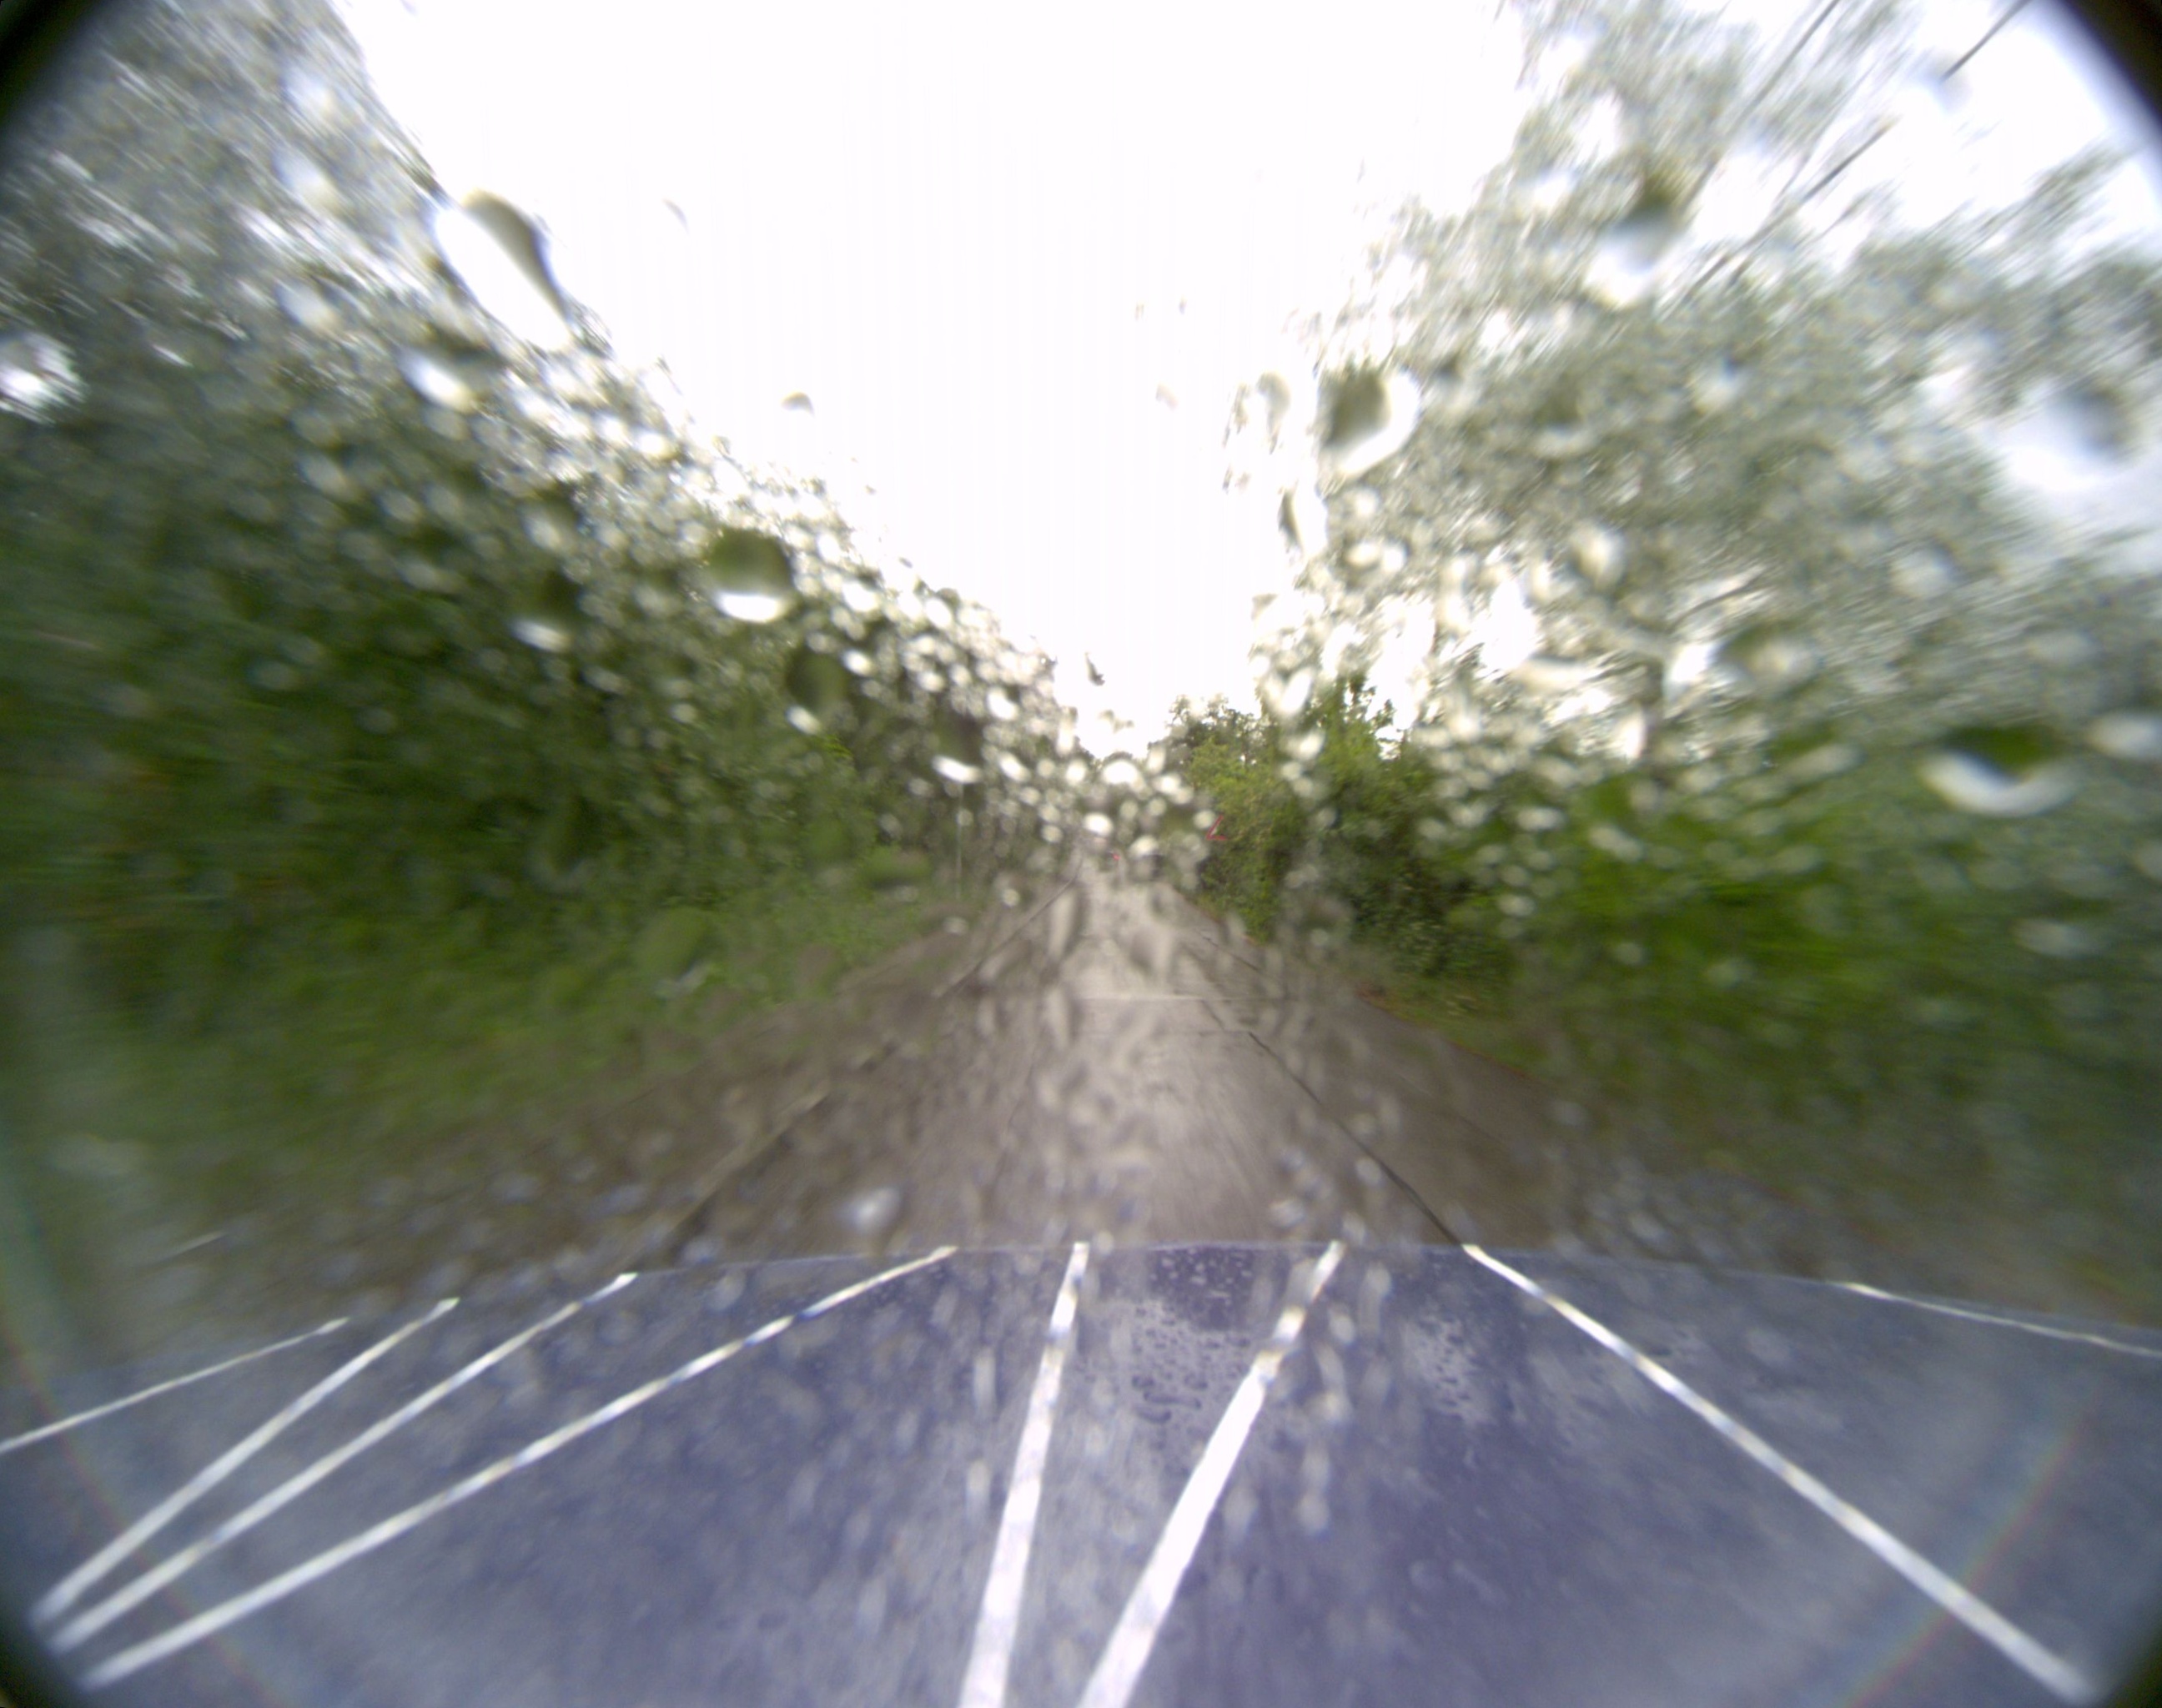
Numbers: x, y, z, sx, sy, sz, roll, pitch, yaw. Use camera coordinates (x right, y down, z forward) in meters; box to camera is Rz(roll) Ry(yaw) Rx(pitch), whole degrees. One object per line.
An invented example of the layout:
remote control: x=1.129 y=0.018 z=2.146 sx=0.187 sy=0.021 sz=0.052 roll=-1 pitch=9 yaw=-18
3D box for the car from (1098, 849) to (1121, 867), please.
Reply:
car: x=2.641 y=0.381 z=71.103 sx=1.927 sy=1.611 sz=4.462 roll=-2 pitch=0 yaw=0

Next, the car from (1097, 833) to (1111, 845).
car: x=3.278 y=-2.166 z=110.800 sx=1.960 sy=1.608 sz=4.680 roll=-1 pitch=0 yaw=1

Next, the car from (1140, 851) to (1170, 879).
car: x=4.958 y=0.717 z=51.608 sx=1.689 sy=1.717 sz=4.068 roll=2 pitch=0 yaw=2
